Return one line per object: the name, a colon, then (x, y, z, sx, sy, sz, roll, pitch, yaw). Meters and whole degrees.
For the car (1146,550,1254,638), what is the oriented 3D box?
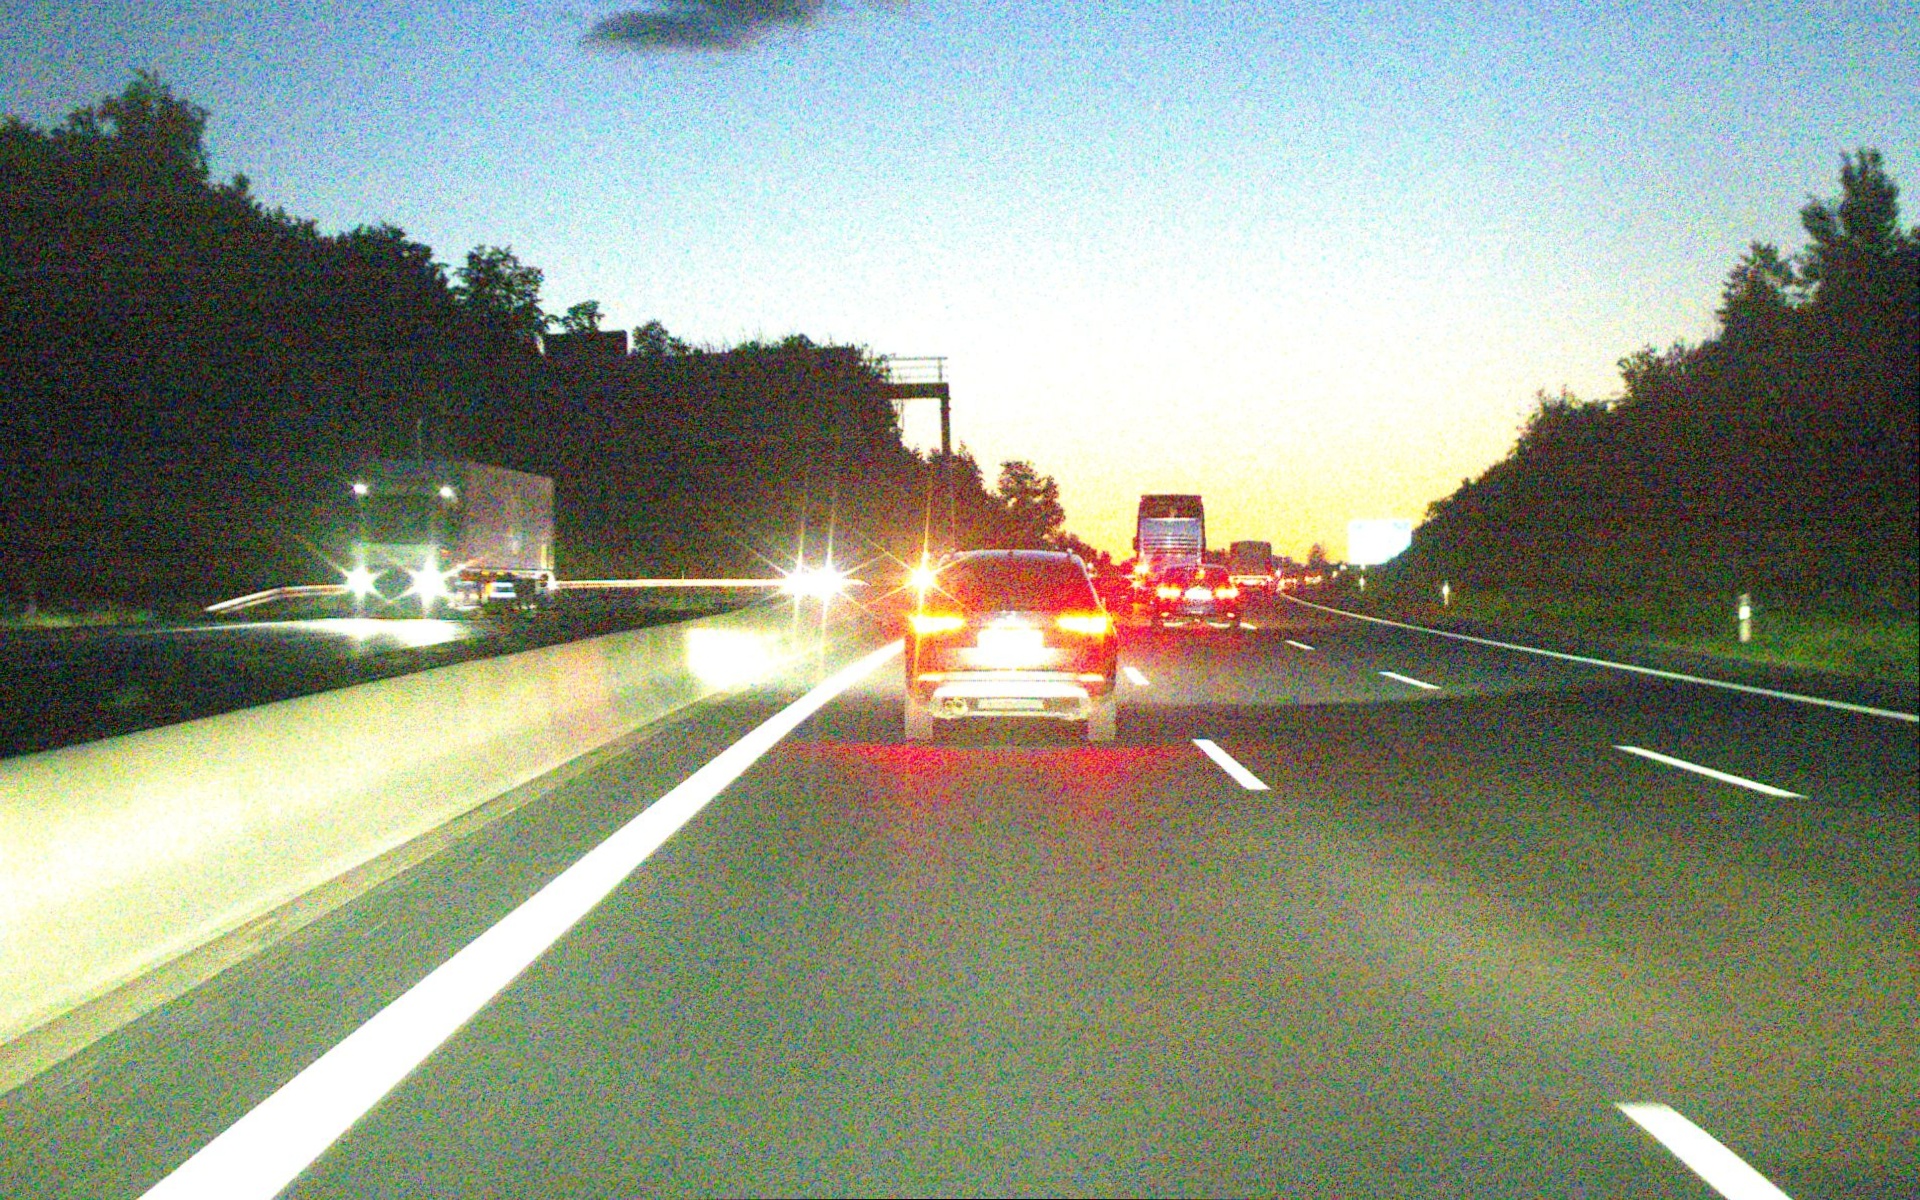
car: (5.054, -0.105, 72.793, 1.911, 1.724, 4.000, 3, -1, 0)

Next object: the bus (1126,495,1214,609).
bus: (8.297, -1.756, 134.360, 2.653, 3.980, 14.697, -2, -1, 6)

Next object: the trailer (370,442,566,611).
trailer: (-13.843, -2.016, 98.108, 2.852, 4.418, 13.979, 1, 1, 3)

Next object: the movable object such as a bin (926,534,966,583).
movable object such as a bin: (-0.975, -2.932, 243.361, 2.208, 3.405, 7.436, 0, 1, 4)

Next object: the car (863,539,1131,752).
car: (0.280, 0.329, 29.578, 2.105, 1.612, 4.205, 2, 1, 0)

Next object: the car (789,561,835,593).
car: (-6.749, -1.049, 157.100, 1.813, 1.448, 4.133, 0, 1, 1)

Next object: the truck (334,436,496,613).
truck: (-14.239, -1.942, 90.294, 2.852, 4.418, 6.396, 1, 1, 3)

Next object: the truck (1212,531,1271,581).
truck: (17.274, -2.693, 211.479, 2.546, 3.005, 9.054, 1, 1, -2)
